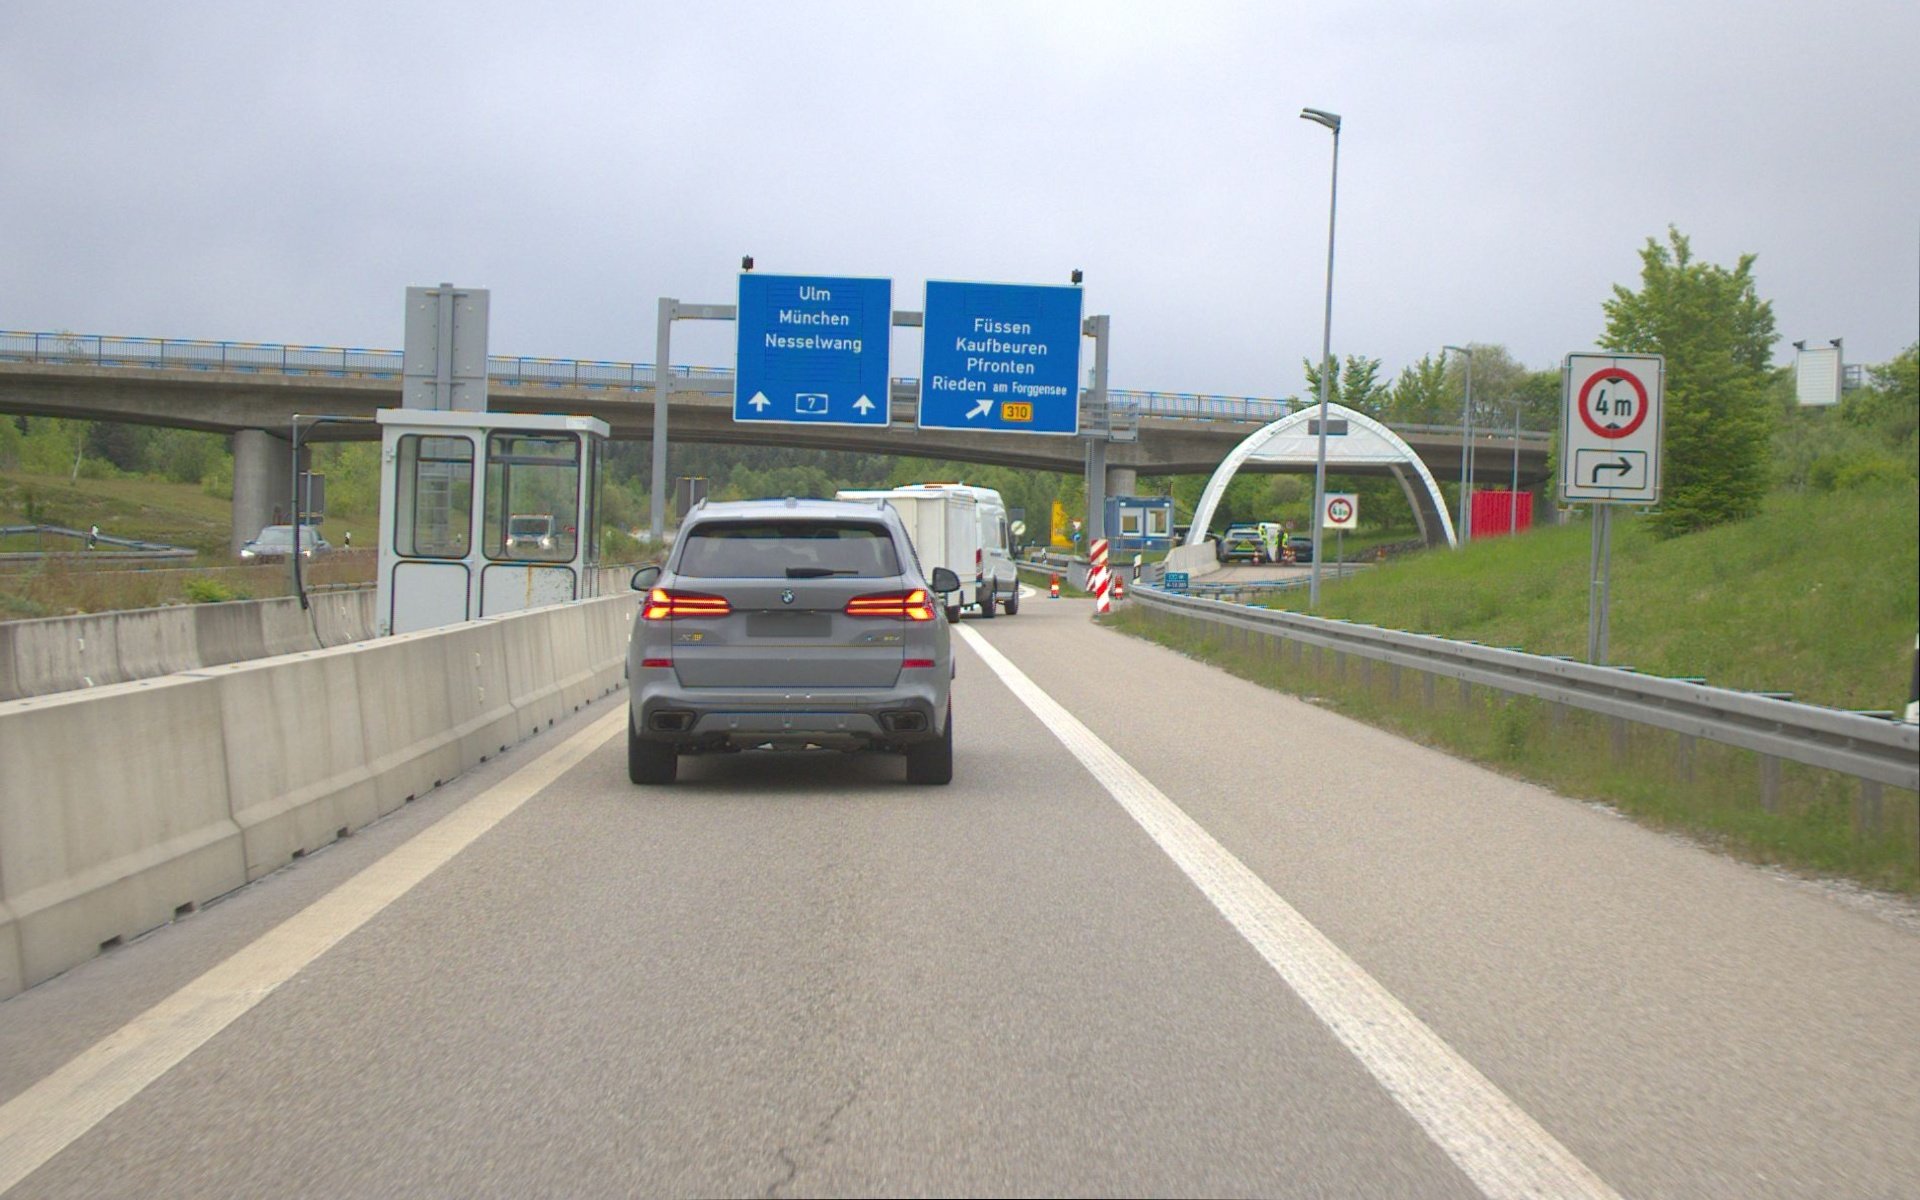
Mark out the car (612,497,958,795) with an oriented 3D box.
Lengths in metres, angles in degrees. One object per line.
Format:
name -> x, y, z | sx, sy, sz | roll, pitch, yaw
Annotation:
car -> -1.052, 0.227, 21.938 | 1.993, 1.713, 4.000 | 0, 1, -1

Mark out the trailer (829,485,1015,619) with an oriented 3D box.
trailer -> -0.648, -0.908, 65.929 | 2.280, 2.422, 6.814 | 1, 1, 10

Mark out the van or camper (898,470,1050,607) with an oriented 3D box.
van or camper -> 0.353, -1.274, 72.215 | 2.158, 2.754, 5.869 | 1, 1, 10

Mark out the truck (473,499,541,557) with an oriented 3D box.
truck -> -19.991, -3.178, 151.922 | 2.356, 2.471, 5.989 | 1, 1, -2

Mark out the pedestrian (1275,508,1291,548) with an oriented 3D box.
pedestrian -> 14.551, -3.250, 154.904 | 0.648, 1.769, 0.606 | 0, 1, 1

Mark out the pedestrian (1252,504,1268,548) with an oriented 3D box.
pedestrian -> 13.525, -3.337, 154.914 | 0.720, 1.939, 0.690 | 0, 1, 3

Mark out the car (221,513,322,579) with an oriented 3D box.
car -> -17.048, -1.351, 85.269 | 1.702, 1.569, 4.177 | 1, 1, -1

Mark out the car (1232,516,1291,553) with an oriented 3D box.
car -> 16.938, -3.690, 193.267 | 1.993, 2.007, 4.001 | 0, 1, -16

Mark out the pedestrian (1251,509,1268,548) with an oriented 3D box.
pedestrian -> 13.419, -3.207, 153.951 | 0.720, 1.769, 0.690 | 0, 1, 3

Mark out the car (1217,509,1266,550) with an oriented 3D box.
car -> 12.411, -3.109, 151.674 | 1.994, 1.766, 3.765 | 0, 1, 3
